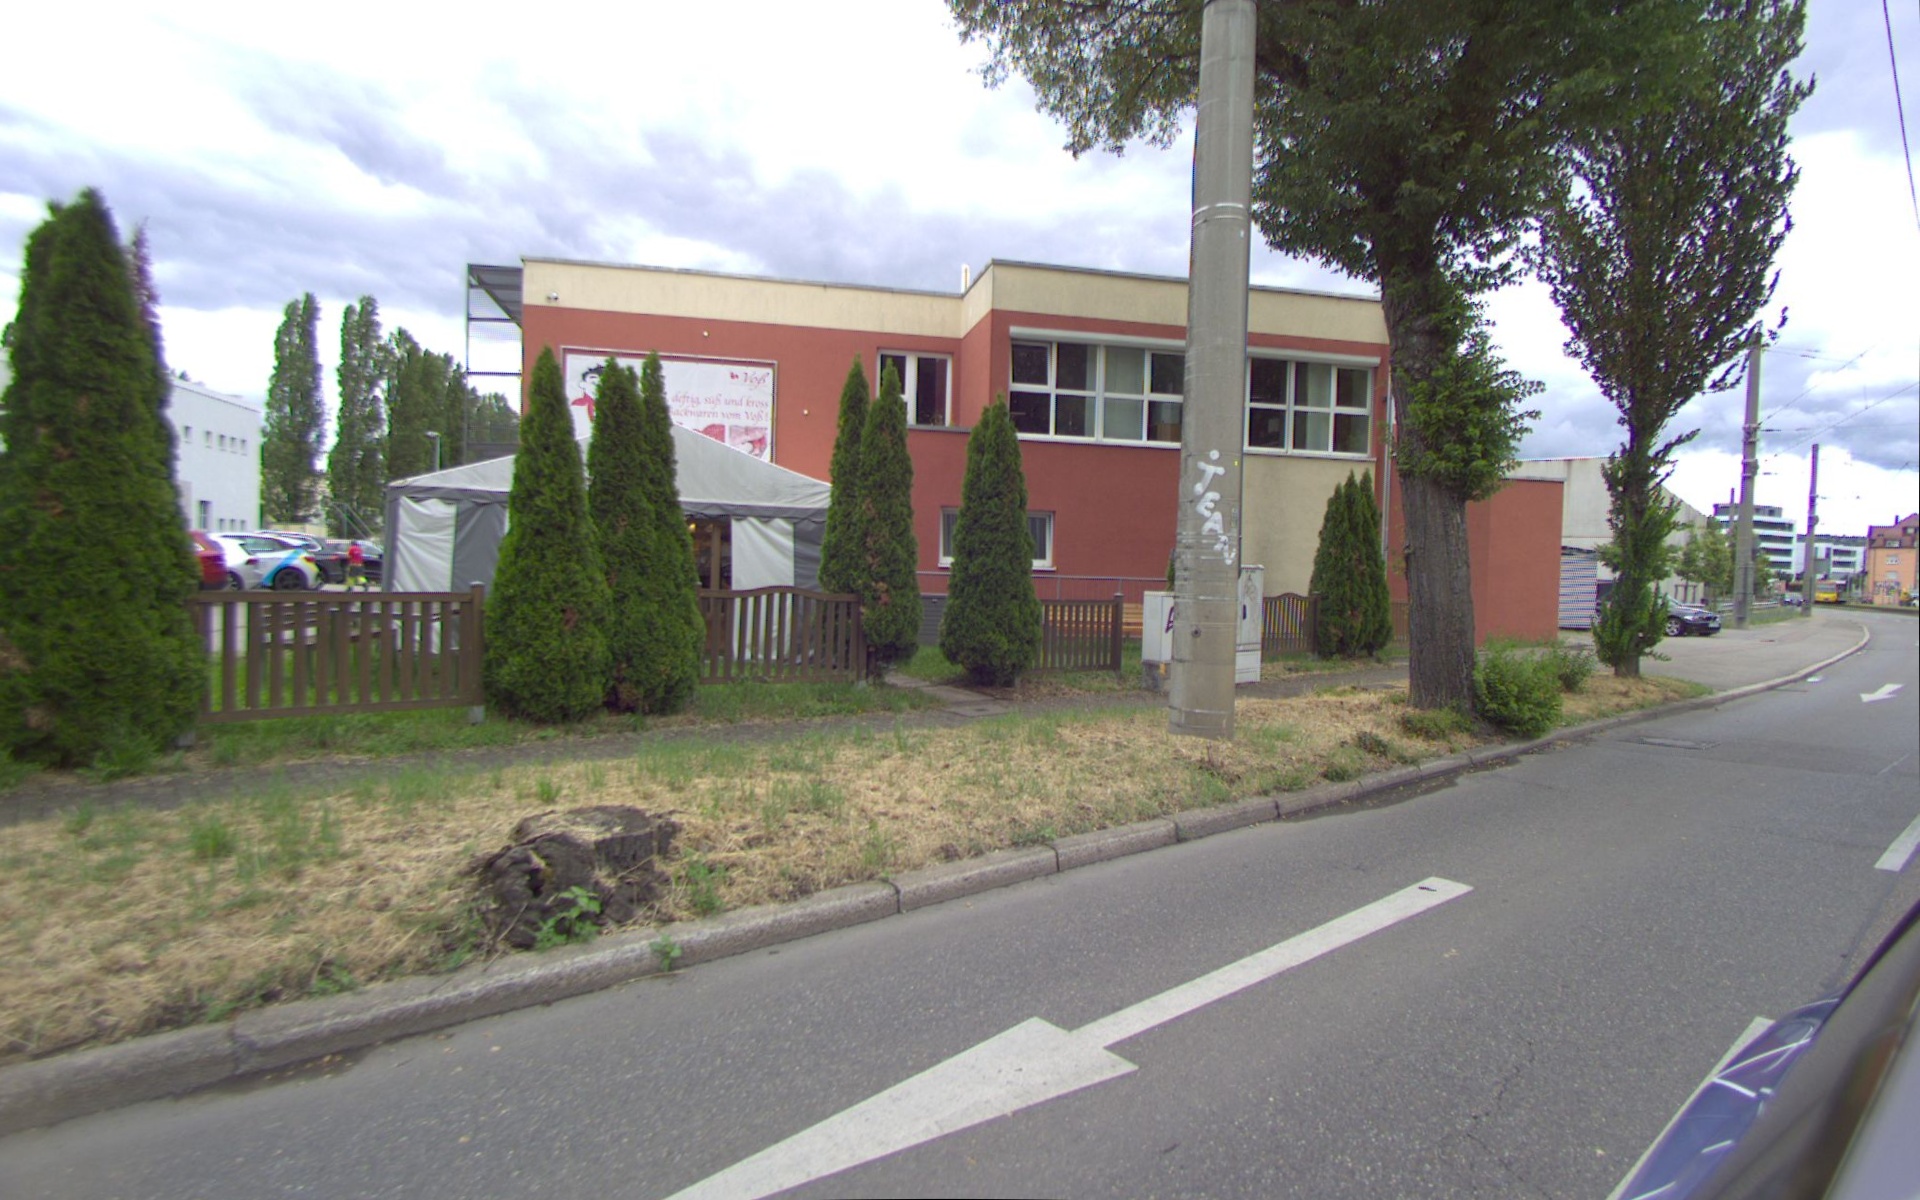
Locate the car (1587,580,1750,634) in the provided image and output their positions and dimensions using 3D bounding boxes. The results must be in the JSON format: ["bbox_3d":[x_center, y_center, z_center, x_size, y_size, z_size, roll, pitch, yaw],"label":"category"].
[{"bbox_3d":[23.837,0.187,34.241,1.726,1.460,4.246,1,4,-19],"label":"car"}]

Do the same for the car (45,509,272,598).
[{"bbox_3d":[-18.252,-1.014,23.233,3.928,1.860,1.999,0,2,-39],"label":"car"}]

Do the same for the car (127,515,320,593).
[{"bbox_3d":[-19.181,-1.155,26.446,3.928,1.860,1.999,0,2,-39],"label":"car"}]

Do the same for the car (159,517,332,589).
[{"bbox_3d":[-20.487,-1.307,29.078,3.928,1.860,1.999,0,2,-39],"label":"car"}]

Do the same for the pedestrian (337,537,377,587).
[{"bbox_3d":[-18.546,-1.170,31.149,0.780,1.488,0.719,2,1,19],"label":"pedestrian"}]

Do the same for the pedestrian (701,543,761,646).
[{"bbox_3d":[-3.451,-0.089,15.297,0.754,1.509,0.706,1,1,-4],"label":"pedestrian"}]

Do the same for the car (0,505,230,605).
[{"bbox_3d":[-17.426,-0.872,20.715,3.928,1.860,1.999,0,2,-39],"label":"car"}]

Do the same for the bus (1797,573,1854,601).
[{"bbox_3d":[134.675,-2.098,157.675,3.519,4.001,10.421,1,2,21],"label":"bus"}]

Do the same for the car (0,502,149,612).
[{"bbox_3d":[-16.849,-0.761,17.859,3.928,1.860,1.999,0,2,-39],"label":"car"}]
